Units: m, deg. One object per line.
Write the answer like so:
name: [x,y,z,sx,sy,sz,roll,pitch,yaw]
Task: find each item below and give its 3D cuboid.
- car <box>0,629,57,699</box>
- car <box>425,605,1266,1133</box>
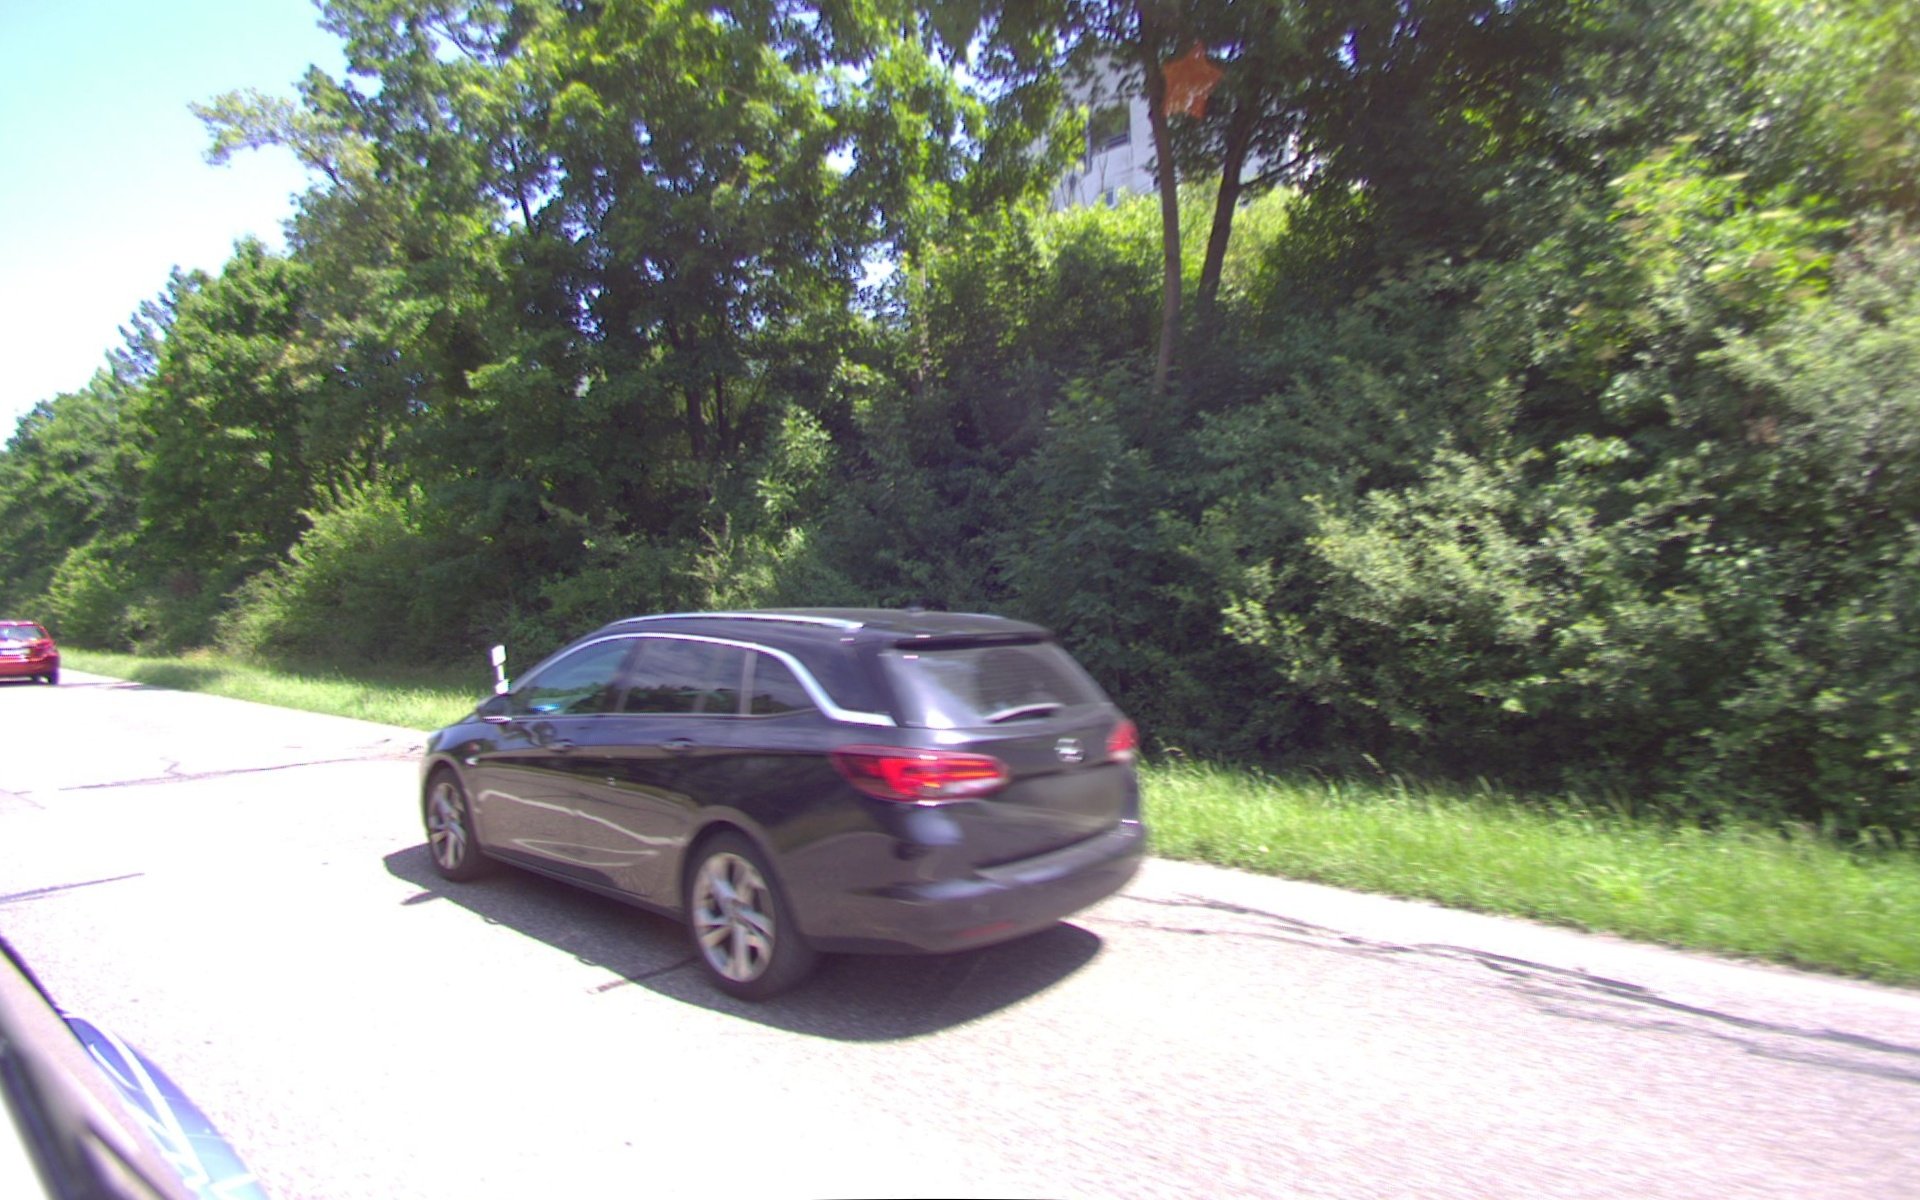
car: [-22.613,1.468,23.746,3.998,1.504,1.664,-2,-1,42]
car: [-0.861,0.792,4.871,4.109,1.460,1.764,-2,-1,43]
